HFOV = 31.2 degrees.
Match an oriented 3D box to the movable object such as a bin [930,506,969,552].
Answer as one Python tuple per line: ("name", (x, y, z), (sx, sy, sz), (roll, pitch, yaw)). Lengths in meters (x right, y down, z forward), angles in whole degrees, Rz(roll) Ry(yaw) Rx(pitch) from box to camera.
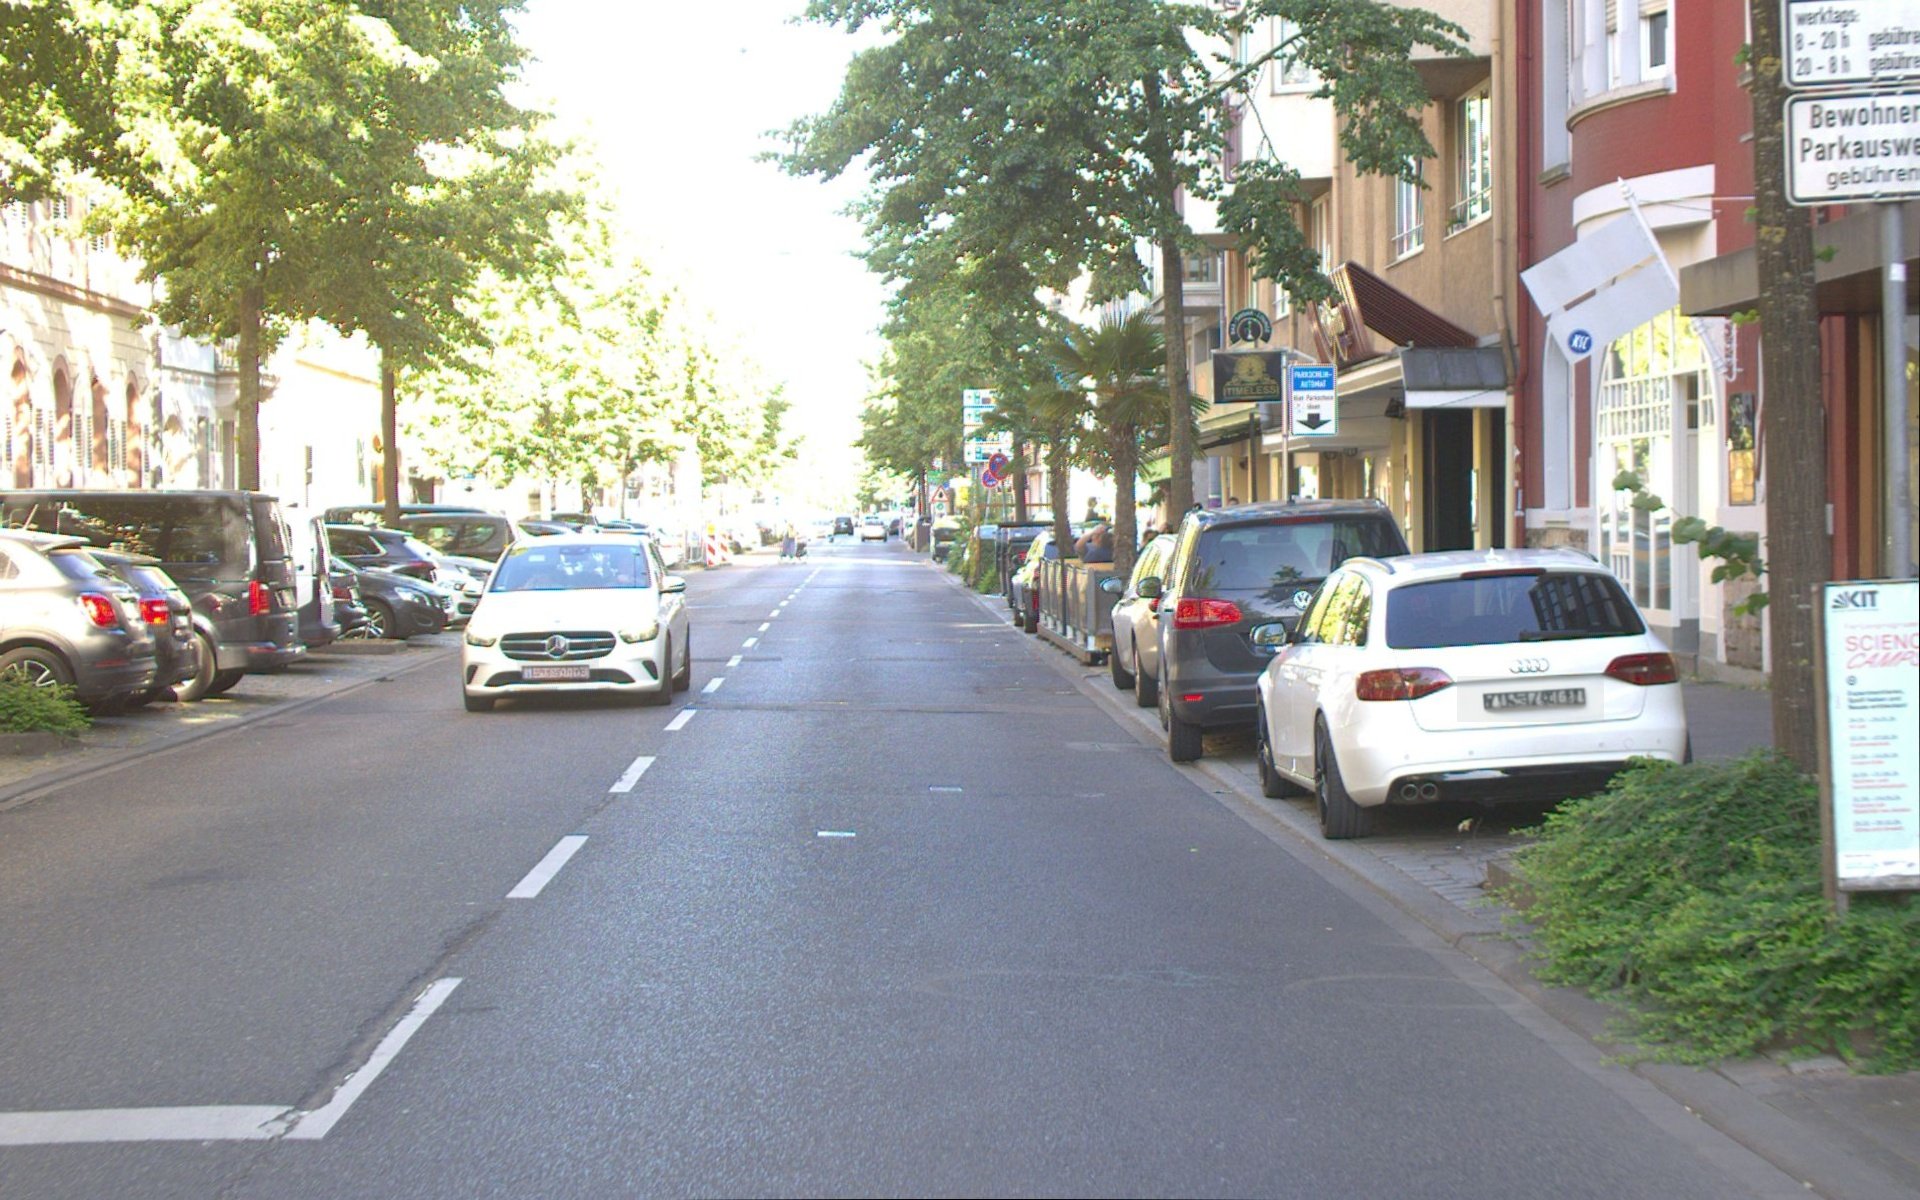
("movable object such as a bin", (-0.351, -2.488, 119.873), (1.143, 1.556, 1.459), (-1, 2, 7))

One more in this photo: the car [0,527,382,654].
("car", (-9.091, -0.128, 40.426), (4.339, 1.434, 1.917), (0, 1, -3))

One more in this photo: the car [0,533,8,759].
("car", (-8.747, 0.340, 22.718), (4.339, 1.539, 1.916), (0, 1, 3))

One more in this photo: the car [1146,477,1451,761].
("car", (2.358, 0.054, 25.048), (1.822, 1.771, 4.930), (-3, 2, 2))

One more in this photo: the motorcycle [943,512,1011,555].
("motorcycle", (0.545, -2.134, 109.556), (1.977, 1.325, 0.912), (-1, 2, -13))

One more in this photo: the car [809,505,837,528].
("car", (-9.410, -5.733, 236.042), (1.802, 1.430, 4.410), (-3, 2, -2))

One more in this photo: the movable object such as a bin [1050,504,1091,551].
("movable object such as a bin", (3.731, -2.452, 116.013), (1.270, 1.525, 1.177), (-2, 1, -3))

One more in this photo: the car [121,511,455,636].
("car", (-9.385, -0.395, 48.255), (4.339, 1.703, 1.917), (0, 1, -1))

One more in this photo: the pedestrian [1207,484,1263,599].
("pedestrian", (4.070, -0.863, 50.920), (0.502, 1.690, 0.630), (-2, 2, -38))

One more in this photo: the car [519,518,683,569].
("car", (-10.432, -1.649, 100.186), (4.680, 1.460, 1.808), (0, 1, -4))

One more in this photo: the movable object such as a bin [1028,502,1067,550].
("movable object such as a bin", (2.986, -2.534, 117.365), (1.205, 1.622, 1.498), (-2, 2, -3))

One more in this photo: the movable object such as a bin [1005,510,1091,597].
("movable object such as a bin", (1.507, -0.813, 59.365), (1.399, 1.449, 1.146), (-1, 2, -1))

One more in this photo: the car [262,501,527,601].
("car", (-10.180, -0.898, 62.157), (4.466, 1.766, 1.917), (0, 1, 0))

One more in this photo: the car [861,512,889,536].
("car", (-5.468, -4.889, 220.827), (1.792, 1.406, 4.001), (-1, 2, -2))

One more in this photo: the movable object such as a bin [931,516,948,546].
("movable object such as a bin", (-0.834, -2.751, 136.985), (0.621, 1.175, 0.712), (-1, 2, -4))

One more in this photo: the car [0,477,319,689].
("car", (-8.510, -0.173, 32.342), (4.573, 1.920, 1.930), (0, 1, 1))

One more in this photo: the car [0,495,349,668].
("car", (-8.916, -0.227, 37.626), (4.338, 1.827, 1.917), (0, 1, -11))

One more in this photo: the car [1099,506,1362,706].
("car", (2.383, -0.015, 31.415), (1.822, 1.591, 4.842), (-3, 2, -1))

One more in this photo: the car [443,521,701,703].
("car", (-3.472, 0.056, 31.520), (1.910, 1.539, 4.354), (0, 1, -1))

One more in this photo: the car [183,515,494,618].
("car", (-9.480, -0.529, 52.717), (4.466, 1.535, 1.917), (0, 1, -2))

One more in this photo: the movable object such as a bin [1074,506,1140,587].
("movable object such as a bin", (2.634, -0.969, 61.731), (1.077, 1.426, 1.295), (-1, 2, -1))

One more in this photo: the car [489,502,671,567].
("car", (-10.197, -1.764, 92.388), (4.680, 1.687, 1.808), (0, 1, 0))

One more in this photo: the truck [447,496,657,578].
("truck", (-10.280, -1.593, 86.933), (5.084, 1.931, 2.000), (-1, 2, -2))

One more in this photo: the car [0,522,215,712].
("car", (-8.797, 0.126, 29.763), (4.339, 1.590, 1.917), (0, 1, -3))

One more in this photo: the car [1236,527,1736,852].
("car", (2.676, 0.370, 18.628), (1.822, 1.398, 4.842), (-3, 2, -1))

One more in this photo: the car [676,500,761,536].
("car", (-11.974, -4.053, 170.592), (3.987, 1.688, 2.000), (-1, 2, 3))

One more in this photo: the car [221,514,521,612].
("car", (-9.461, -0.607, 55.473), (4.466, 1.535, 1.916), (0, 1, 2))

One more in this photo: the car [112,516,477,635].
("car", (-8.814, -0.344, 45.778), (4.466, 1.535, 1.917), (0, 1, 1))

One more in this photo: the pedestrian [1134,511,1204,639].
("pedestrian", (2.558, -0.310, 42.063), (0.712, 1.531, 0.769), (-1, 1, 13))

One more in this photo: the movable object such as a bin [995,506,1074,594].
("movable object such as a bin", (1.327, -0.898, 61.704), (1.330, 1.537, 1.146), (-1, 2, -1))

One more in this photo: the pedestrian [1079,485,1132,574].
("pedestrian", (3.176, -1.544, 74.976), (0.926, 1.929, 0.760), (0, 2, 24))

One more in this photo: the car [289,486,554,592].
("car", (-10.131, -1.160, 64.918), (4.680, 1.943, 1.917), (0, 1, 0))

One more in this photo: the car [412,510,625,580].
("car", (-10.173, -1.278, 79.404), (4.680, 1.566, 1.808), (0, 1, 0))

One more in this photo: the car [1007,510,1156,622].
("car", (1.747, -0.539, 50.826), (1.822, 1.467, 4.912), (-3, 2, -1))

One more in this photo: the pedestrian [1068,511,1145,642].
("pedestrian", (1.739, -0.286, 40.776), (0.750, 1.531, 0.807), (-1, 1, 13))

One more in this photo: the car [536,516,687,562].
("car", (-10.930, -1.924, 108.143), (4.680, 1.407, 1.808), (0, 1, -4))

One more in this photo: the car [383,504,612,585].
("car", (-9.897, -1.201, 73.786), (4.680, 1.706, 1.808), (0, 1, 0))

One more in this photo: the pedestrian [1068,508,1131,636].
("pedestrian", (1.708, -0.350, 42.074), (0.650, 1.531, 0.980), (-1, 1, -3))

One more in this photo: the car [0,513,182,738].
("car", (-8.553, 0.181, 27.346), (4.339, 1.727, 1.917), (0, 1, -3))

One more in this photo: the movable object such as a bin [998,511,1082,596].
("movable object such as a bin", (1.407, -0.832, 60.542), (1.399, 1.449, 1.146), (-1, 2, -1))

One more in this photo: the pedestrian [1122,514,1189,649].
("pedestrian", (2.250, -0.224, 39.669), (0.692, 1.531, 0.776), (-1, 1, 0))

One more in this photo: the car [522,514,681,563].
("car", (-10.708, -1.849, 102.921), (4.680, 1.460, 1.808), (0, 1, -4))
